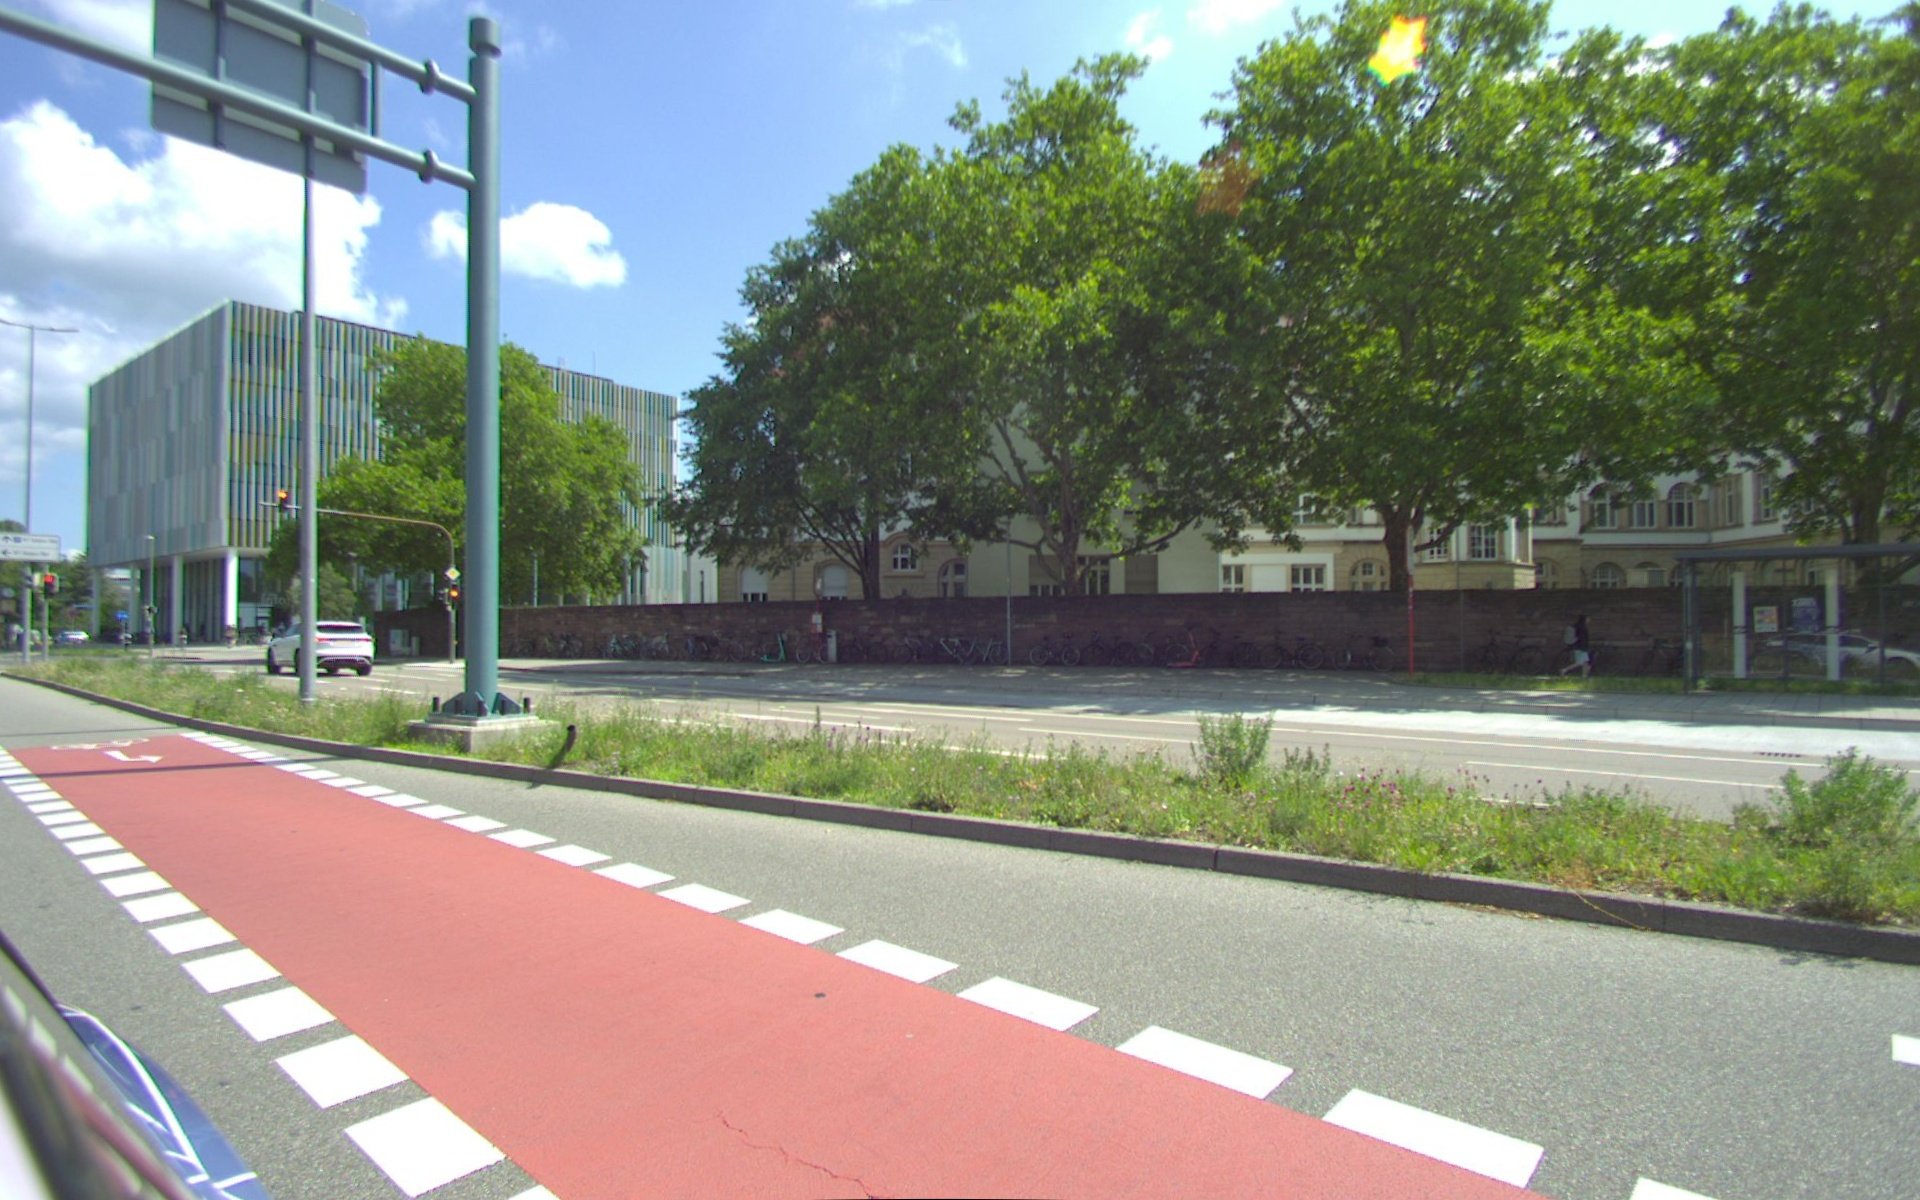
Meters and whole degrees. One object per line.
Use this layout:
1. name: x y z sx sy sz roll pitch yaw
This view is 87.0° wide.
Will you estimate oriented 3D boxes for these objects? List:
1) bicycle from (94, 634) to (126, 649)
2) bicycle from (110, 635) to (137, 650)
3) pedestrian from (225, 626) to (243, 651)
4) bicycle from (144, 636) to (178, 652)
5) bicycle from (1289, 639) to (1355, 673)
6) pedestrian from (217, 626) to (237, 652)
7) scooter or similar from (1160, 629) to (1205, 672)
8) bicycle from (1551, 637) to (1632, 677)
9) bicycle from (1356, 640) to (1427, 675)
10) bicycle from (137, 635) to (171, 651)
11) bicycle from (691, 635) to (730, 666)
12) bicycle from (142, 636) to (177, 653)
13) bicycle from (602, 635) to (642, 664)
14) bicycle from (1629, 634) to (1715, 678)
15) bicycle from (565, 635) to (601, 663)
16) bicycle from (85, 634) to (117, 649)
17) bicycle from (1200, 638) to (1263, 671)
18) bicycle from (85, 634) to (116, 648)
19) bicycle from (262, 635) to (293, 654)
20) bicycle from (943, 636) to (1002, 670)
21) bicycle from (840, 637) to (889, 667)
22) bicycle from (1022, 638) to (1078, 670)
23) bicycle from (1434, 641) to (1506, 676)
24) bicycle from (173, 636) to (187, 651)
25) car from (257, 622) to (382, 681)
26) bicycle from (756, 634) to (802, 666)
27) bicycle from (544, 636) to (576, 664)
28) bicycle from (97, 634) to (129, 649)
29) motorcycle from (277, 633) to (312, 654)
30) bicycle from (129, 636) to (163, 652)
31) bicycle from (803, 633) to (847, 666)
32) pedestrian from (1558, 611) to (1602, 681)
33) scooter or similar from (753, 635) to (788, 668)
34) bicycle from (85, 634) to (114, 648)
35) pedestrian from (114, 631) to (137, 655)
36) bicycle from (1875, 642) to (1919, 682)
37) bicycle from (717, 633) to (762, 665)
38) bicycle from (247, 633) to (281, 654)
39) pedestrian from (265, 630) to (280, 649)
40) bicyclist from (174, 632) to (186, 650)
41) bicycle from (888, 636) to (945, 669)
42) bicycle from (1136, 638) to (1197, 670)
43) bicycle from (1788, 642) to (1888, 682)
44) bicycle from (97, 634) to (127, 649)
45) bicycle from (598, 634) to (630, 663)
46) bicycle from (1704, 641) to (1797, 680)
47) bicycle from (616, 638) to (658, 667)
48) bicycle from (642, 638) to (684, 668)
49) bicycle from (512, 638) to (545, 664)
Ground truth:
1. bicycle: -87.992 4.316 104.753 0.621 1.506 2.479 -2 -2 41
2. bicycle: -84.892 4.279 102.728 0.621 1.506 2.044 -2 -2 41
3. pedestrian: -55.956 2.970 77.976 0.955 1.940 0.882 0 -2 -23
4. bicycle: -75.290 4.137 95.335 2.473 1.506 0.731 1 -2 -39
5. bicycle: 10.015 1.545 28.002 1.656 0.909 0.540 -1 -2 26
6. pedestrian: -54.455 2.892 75.178 0.955 1.940 0.882 0 -2 -20
7. scooter or similar: 6.361 1.444 28.930 1.184 1.192 0.430 -1 -2 20
8. bicycle: 15.887 1.431 25.502 1.655 0.959 0.541 -1 -2 24
9. bicycle: 11.527 1.528 27.085 1.663 0.909 0.497 -2 -2 38
10. bicycle: -77.904 4.186 97.786 0.621 1.506 2.479 -2 -2 41
11. bicycle: -9.491 1.912 38.444 1.587 1.161 0.398 -2 -2 30
12. bicycle: -74.710 4.121 94.463 0.621 1.506 2.420 -2 -2 41
13. bicycle: -13.668 2.000 40.914 1.581 1.161 0.400 -1 -2 18
14. bicycle: 17.415 1.368 24.792 1.614 1.059 0.541 -1 -2 24
15. bicycle: -15.976 2.076 42.903 1.589 1.161 0.616 -2 -2 33
16. bicycle: -90.882 4.361 107.051 0.621 1.506 2.479 -2 -2 41
17. bicycle: 7.774 1.562 28.956 1.658 0.909 0.540 -2 -2 29
18. bicycle: -91.343 4.371 107.589 0.621 1.506 2.479 -2 -2 41
19. bicycle: -55.616 3.608 82.494 0.919 1.505 2.690 0 -1 -4
20. bicycle: 0.388 1.692 32.625 1.887 1.055 0.540 -2 -2 29
21. bicycle: -3.299 1.786 34.876 1.795 1.016 0.476 -2 -2 32
22. bicycle: 2.773 1.652 31.222 1.658 0.956 0.540 -2 -2 29
23. bicycle: 13.345 1.524 26.527 1.656 0.909 0.540 -1 -2 26
24. bicycle: -55.440 3.072 71.938 0.636 1.006 2.169 1 -2 -33
25. car: -19.778 1.556 31.176 4.774 1.680 2.049 -2 -2 42
26. bicycle: -6.529 1.802 36.574 1.582 1.161 0.530 -1 -2 19
27. bicycle: -17.326 2.162 43.827 1.589 1.161 0.495 -2 -2 33
28. bicycle: -87.099 4.304 104.084 0.621 1.506 2.479 -2 -2 41
29. motorcycle: -54.281 3.506 82.608 0.957 1.652 3.301 0 -2 -5
30. bicycle: -77.695 4.161 96.640 0.621 1.506 2.479 -2 -2 41
31. bicycle: -4.780 1.755 35.762 1.587 1.151 0.429 -2 -2 29
32. pedestrian: 14.780 1.084 24.134 0.752 1.629 0.612 -1 -1 20
33. scooter or similar: -6.748 1.845 36.091 1.184 1.161 0.430 -1 -2 20
34. bicycle: -92.257 4.390 108.500 0.656 1.506 2.273 -2 -2 41
35. pedestrian: -58.474 3.025 70.915 0.875 1.641 0.962 -1 -2 30
36. bicycle: 22.285 1.417 23.331 1.653 0.909 0.541 -1 -2 21
37. bicycle: -8.152 1.815 37.346 1.582 1.161 0.530 -1 -2 19
38. bicycle: -56.659 3.520 82.396 0.797 1.656 3.420 0 -2 -8
39. pedestrian: -62.733 3.605 92.374 0.997 1.720 1.214 0 -2 -30
40. bicyclist: -55.528 2.911 72.052 0.608 1.235 0.836 1 -2 -31
41. bicycle: -1.459 1.738 33.774 1.941 1.055 0.540 -2 -2 29
42. bicycle: 6.080 1.581 29.827 1.658 0.909 0.540 -1 -2 29
43. bicycle: 20.691 1.446 23.876 1.653 0.909 0.541 -1 -2 21
44. bicycle: -88.555 4.337 105.740 0.621 1.506 2.300 -2 -2 41
45. bicycle: -14.368 2.017 41.965 1.591 1.161 0.408 -2 -2 36
46. bicycle: 19.078 1.446 24.455 1.653 0.909 0.541 -1 -2 21
47. bicycle: -12.814 2.080 40.208 1.576 1.161 0.401 -1 -2 8
48. bicycle: -11.617 2.069 39.568 1.576 1.161 0.401 -1 -2 8
49. bicycle: -19.186 2.259 45.020 1.589 1.107 0.567 -2 -2 33
